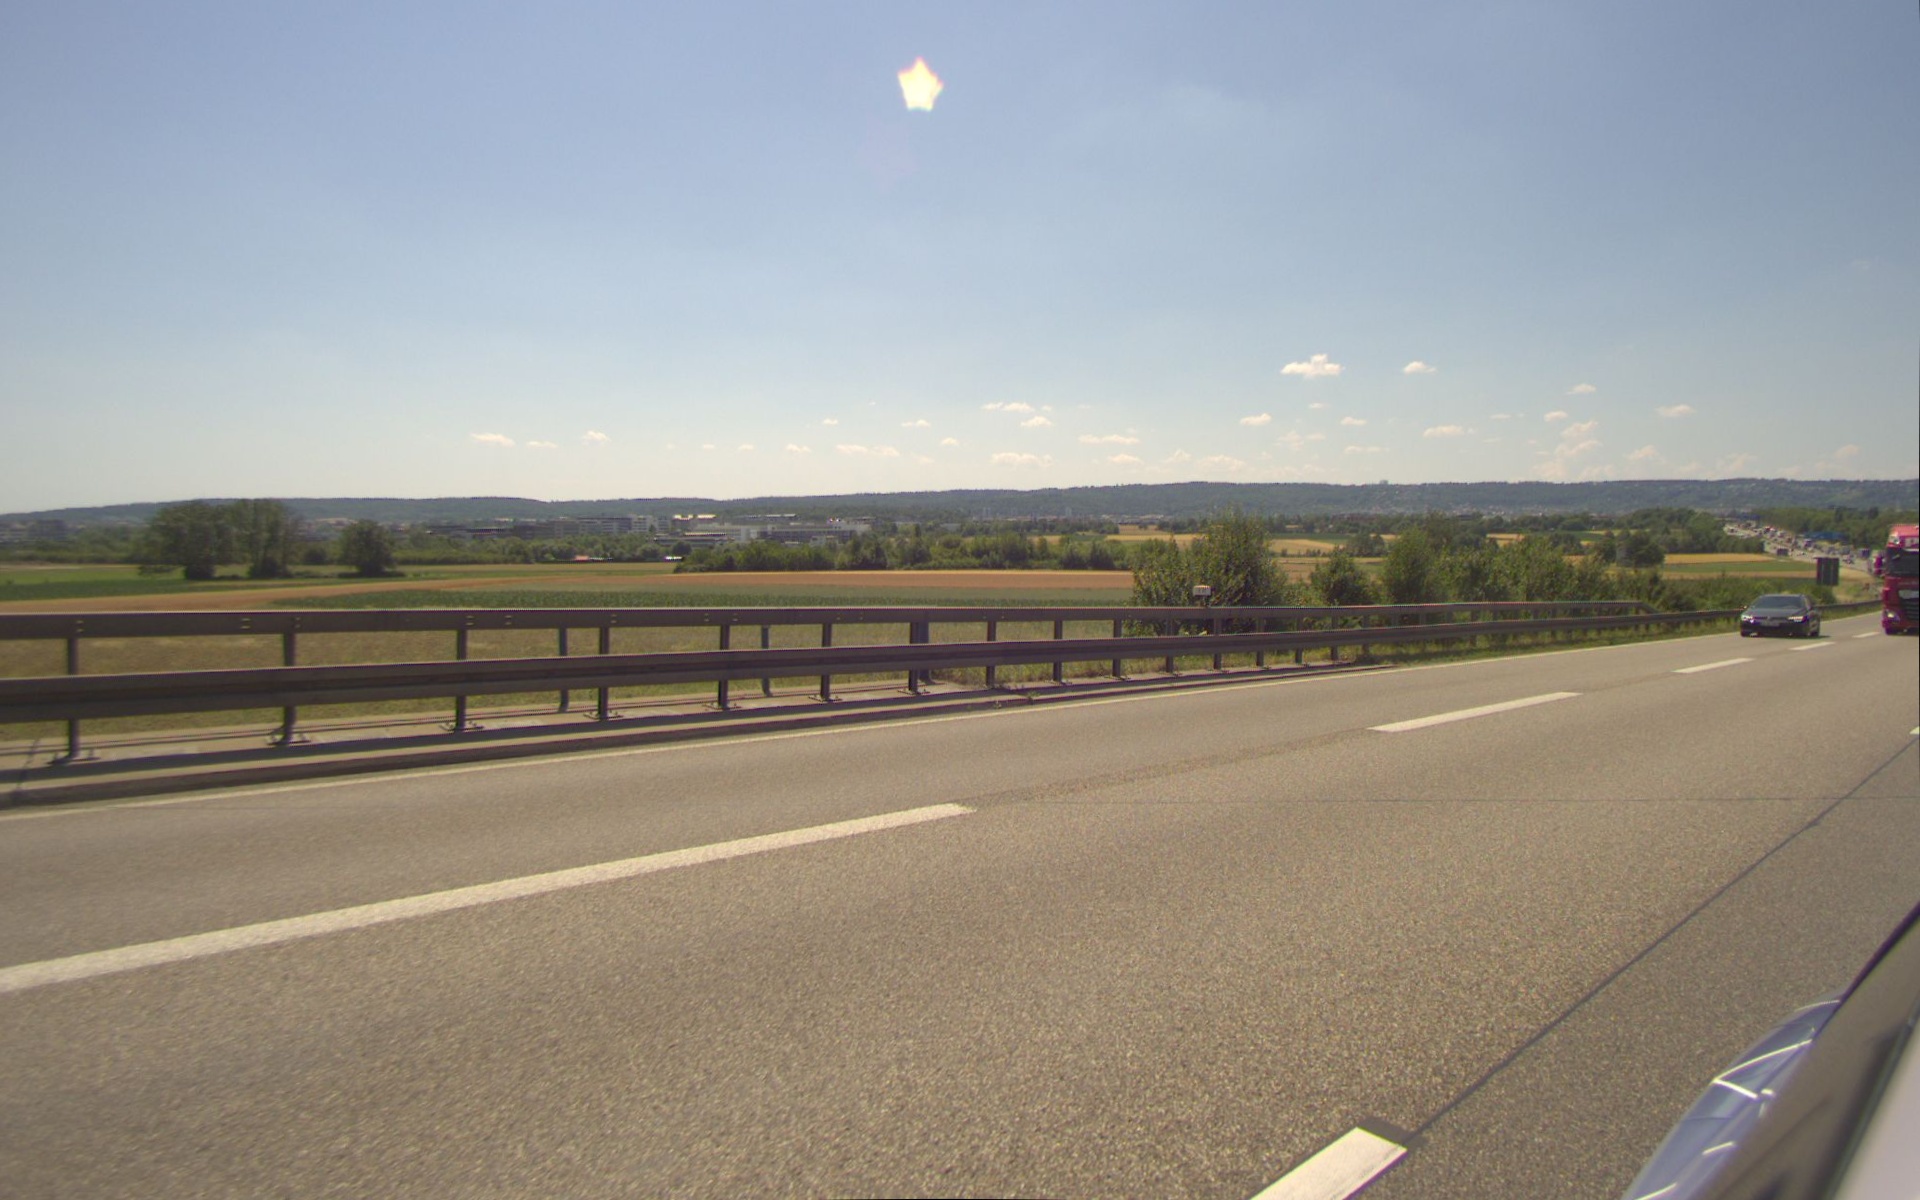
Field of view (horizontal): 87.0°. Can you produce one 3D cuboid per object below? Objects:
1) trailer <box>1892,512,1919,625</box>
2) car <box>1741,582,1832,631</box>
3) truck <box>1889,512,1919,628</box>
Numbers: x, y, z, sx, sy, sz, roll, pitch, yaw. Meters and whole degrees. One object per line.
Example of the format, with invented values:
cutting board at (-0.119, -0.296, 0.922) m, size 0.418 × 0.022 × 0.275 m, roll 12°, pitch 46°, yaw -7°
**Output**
trailer at (40.744, -1.370, 41.613) m, size 13.635 × 4.168 × 2.920 m, roll -3°, pitch 1°, yaw -45°
car at (28.238, 0.172, 34.558) m, size 3.935 × 1.571 × 2.033 m, roll -1°, pitch 1°, yaw -45°
truck at (36.187, -1.142, 37.060) m, size 2.917 × 4.058 × 6.407 m, roll -1°, pitch 1°, yaw 45°
